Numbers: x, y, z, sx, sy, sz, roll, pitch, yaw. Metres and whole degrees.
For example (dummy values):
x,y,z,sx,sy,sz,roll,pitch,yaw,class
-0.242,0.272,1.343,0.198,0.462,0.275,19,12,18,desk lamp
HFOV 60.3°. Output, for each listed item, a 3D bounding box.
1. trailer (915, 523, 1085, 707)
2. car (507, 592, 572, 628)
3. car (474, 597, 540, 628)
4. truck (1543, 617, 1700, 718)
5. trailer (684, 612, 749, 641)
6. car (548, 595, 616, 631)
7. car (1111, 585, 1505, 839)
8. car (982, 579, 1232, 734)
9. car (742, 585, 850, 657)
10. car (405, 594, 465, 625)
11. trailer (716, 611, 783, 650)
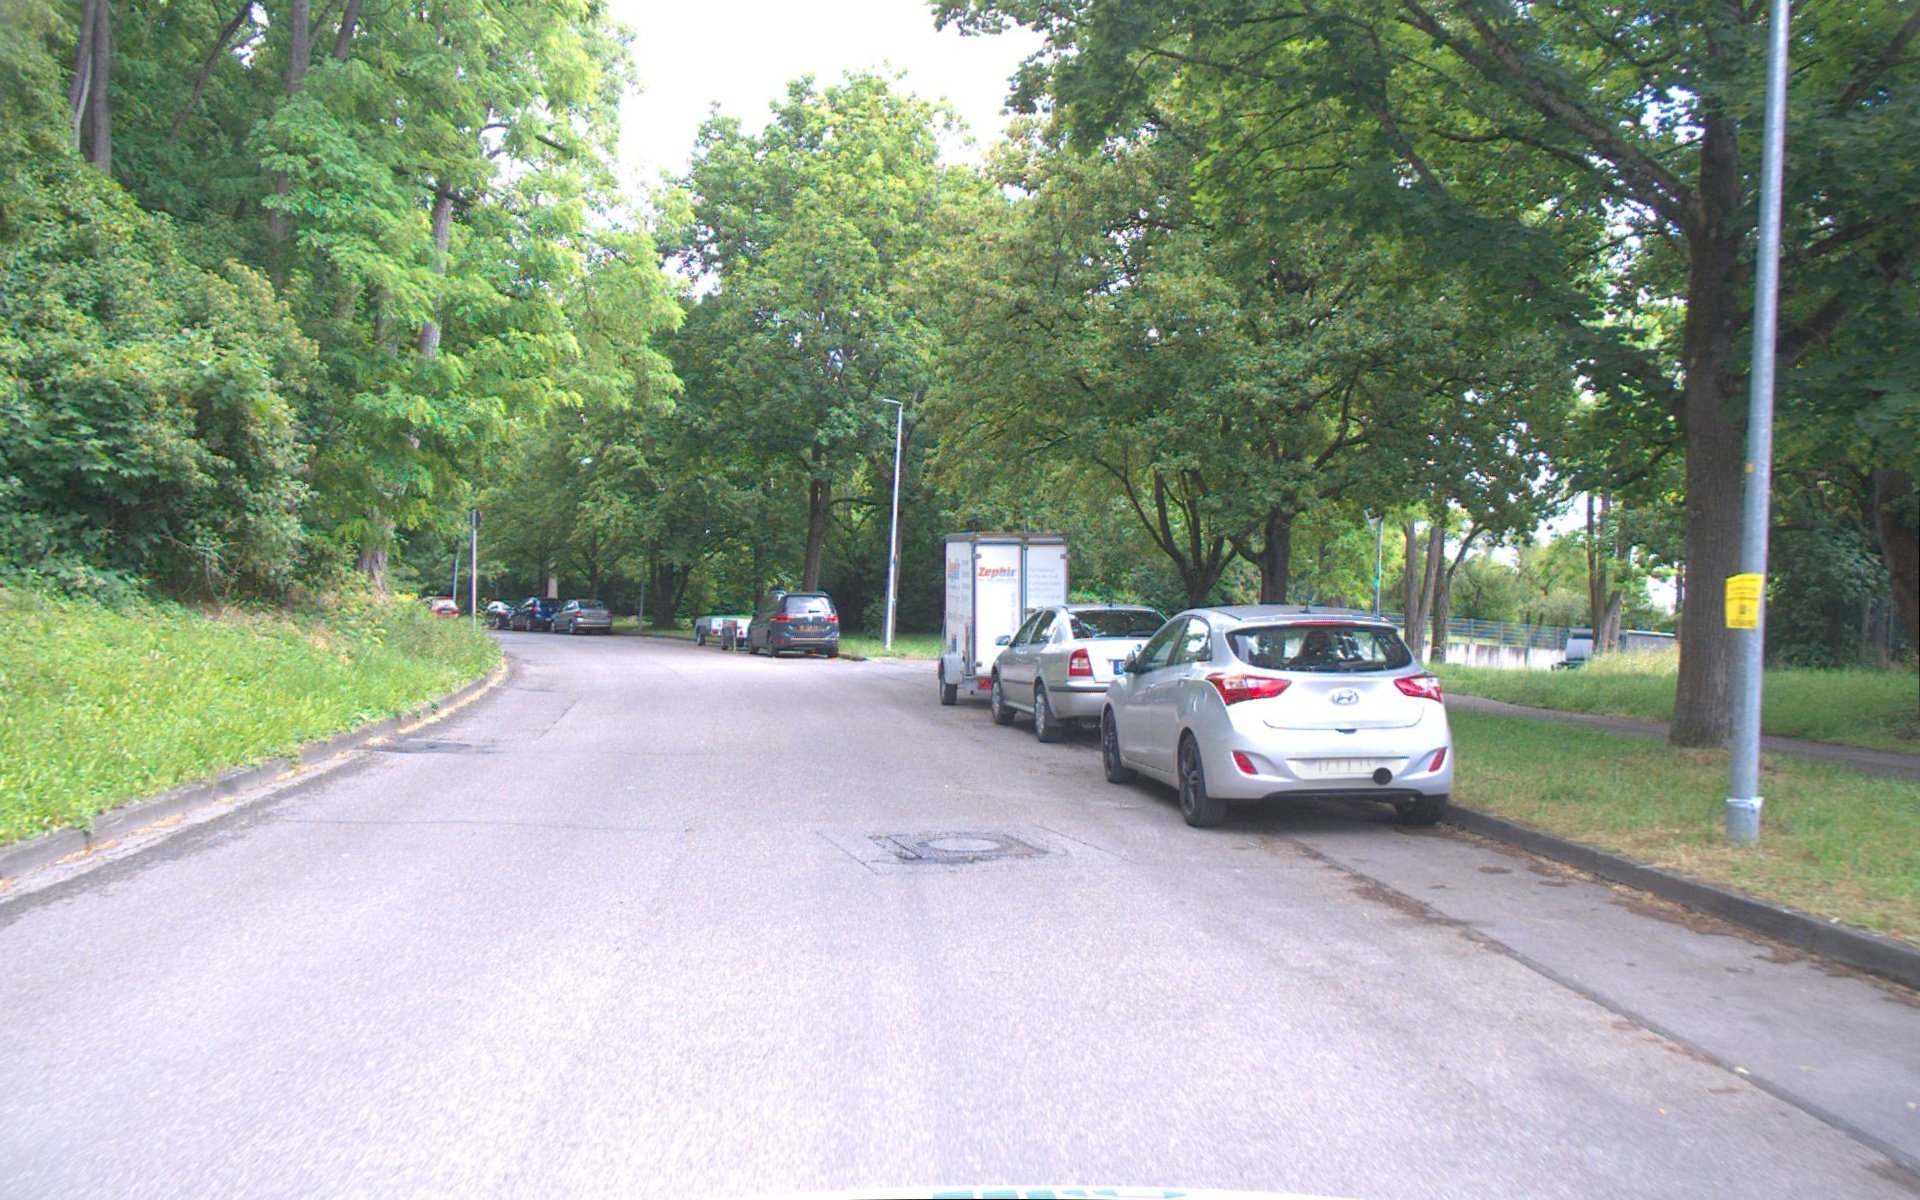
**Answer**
x,y,z,sx,sy,sz,roll,pitch,yaw,class
0.496,0.201,24.293,1.729,2.469,3.877,0,0,-11,trailer
-19.066,0.471,74.840,1.697,1.536,4.136,4,-3,-31,car
-21.609,0.597,78.814,1.735,1.360,4.362,2,-1,-34,car
28.790,2.993,71.677,9.498,4.068,2.654,5,-3,-44,truck
-7.848,0.860,53.105,1.344,0.862,3.257,3,-2,-21,trailer
-15.810,0.556,69.116,1.699,1.457,3.908,1,-1,-30,car
2.352,0.710,12.292,1.864,1.502,4.056,2,0,-3,car
1.528,0.583,18.985,1.709,1.552,4.624,1,0,-10,car
-4.319,0.533,42.854,1.748,1.691,4.816,3,-1,-18,car
-27.820,0.525,87.590,1.727,1.590,3.944,1,-1,-39,car
-6.232,0.873,48.615,1.335,0.986,3.875,3,0,-16,trailer
